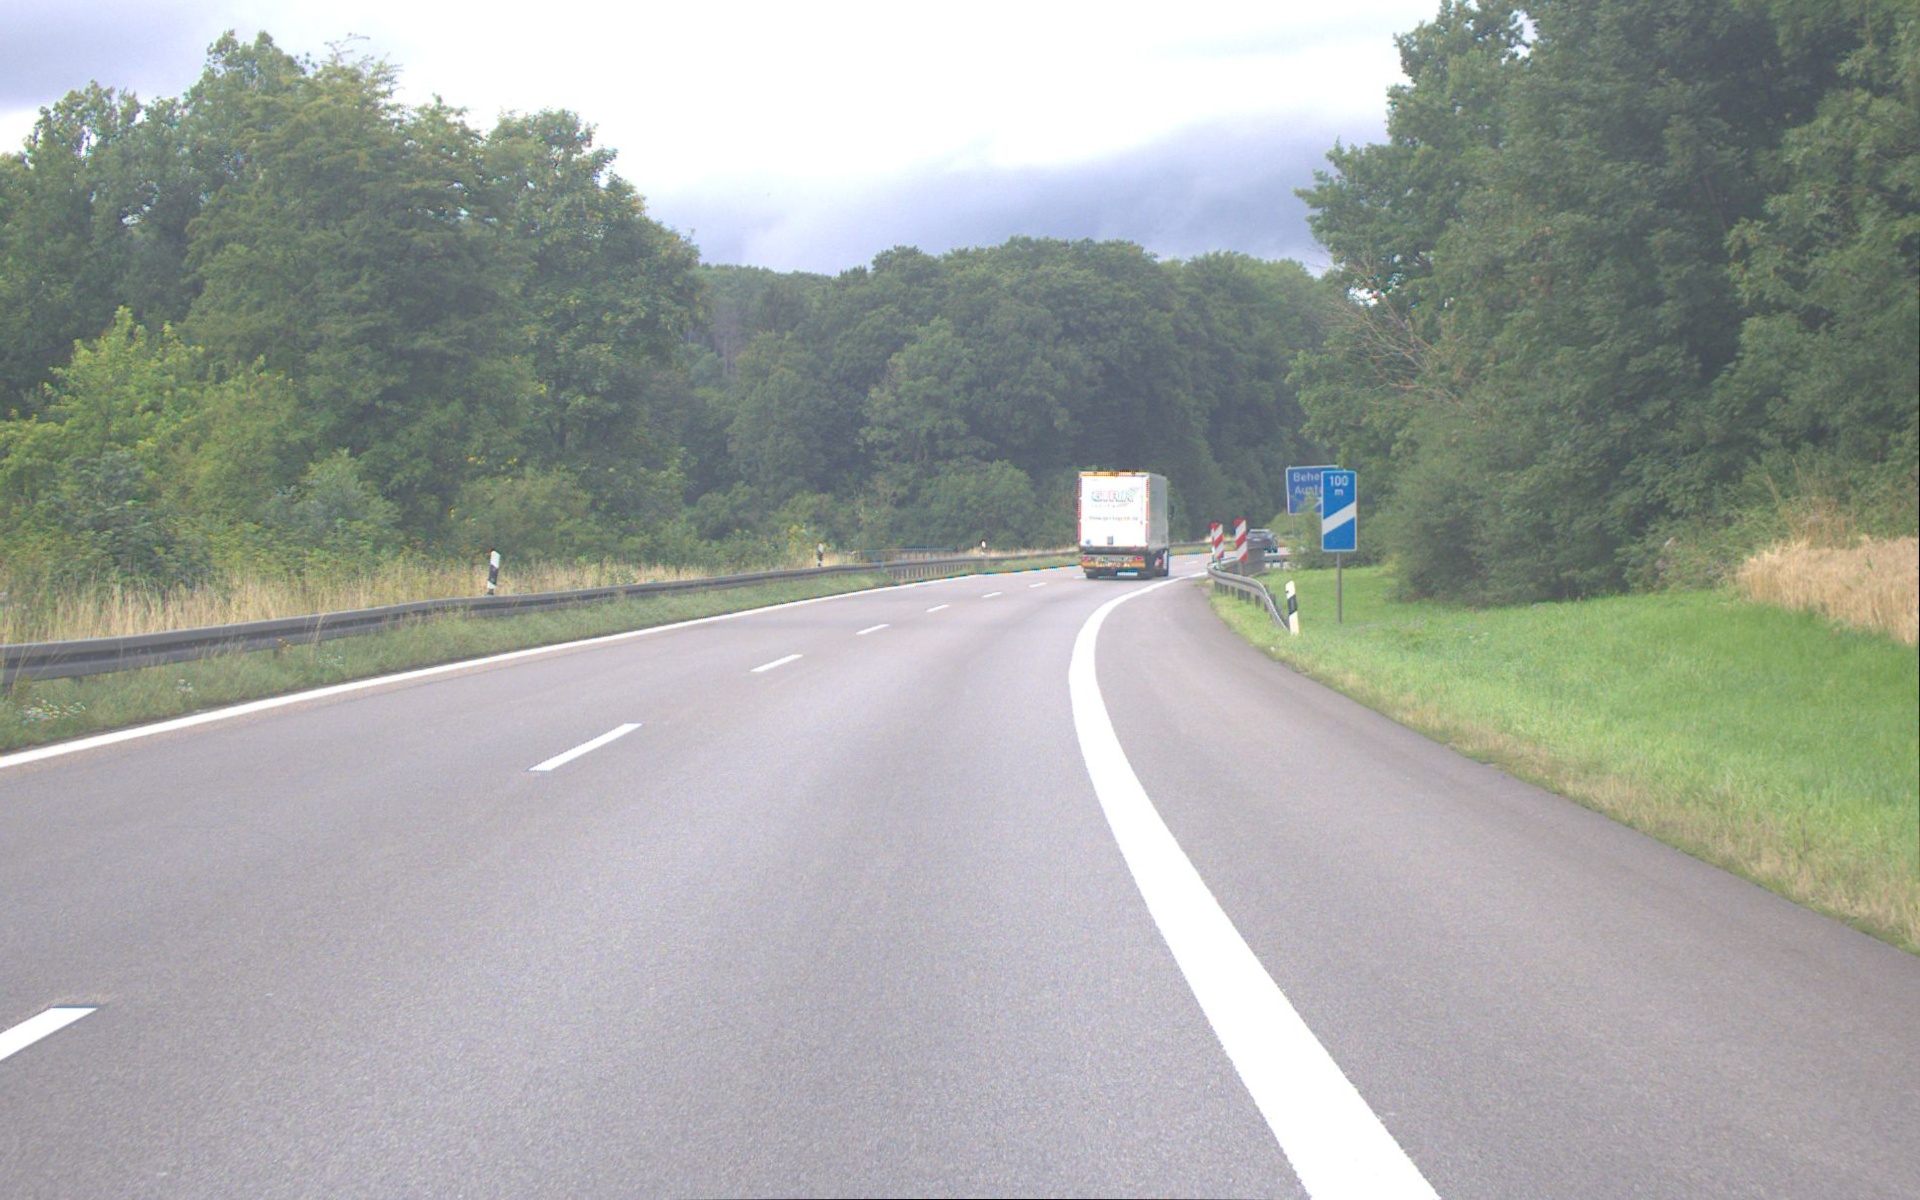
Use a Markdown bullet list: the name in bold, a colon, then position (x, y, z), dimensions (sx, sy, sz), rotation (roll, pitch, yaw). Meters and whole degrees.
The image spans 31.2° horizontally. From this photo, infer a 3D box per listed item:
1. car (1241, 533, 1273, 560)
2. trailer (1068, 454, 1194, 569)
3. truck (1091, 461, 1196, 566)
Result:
- **car**: position (20.200, -3.630, 233.684), dimensions (1.903, 1.789, 3.998), rotation (1, 0, 9)
- **trailer**: position (6.698, -3.345, 132.293), dimensions (3.806, 4.160, 14.805), rotation (0, 1, 7)
- **truck**: position (7.475, -3.436, 138.903), dimensions (3.788, 4.118, 8.263), rotation (0, 1, 6)
